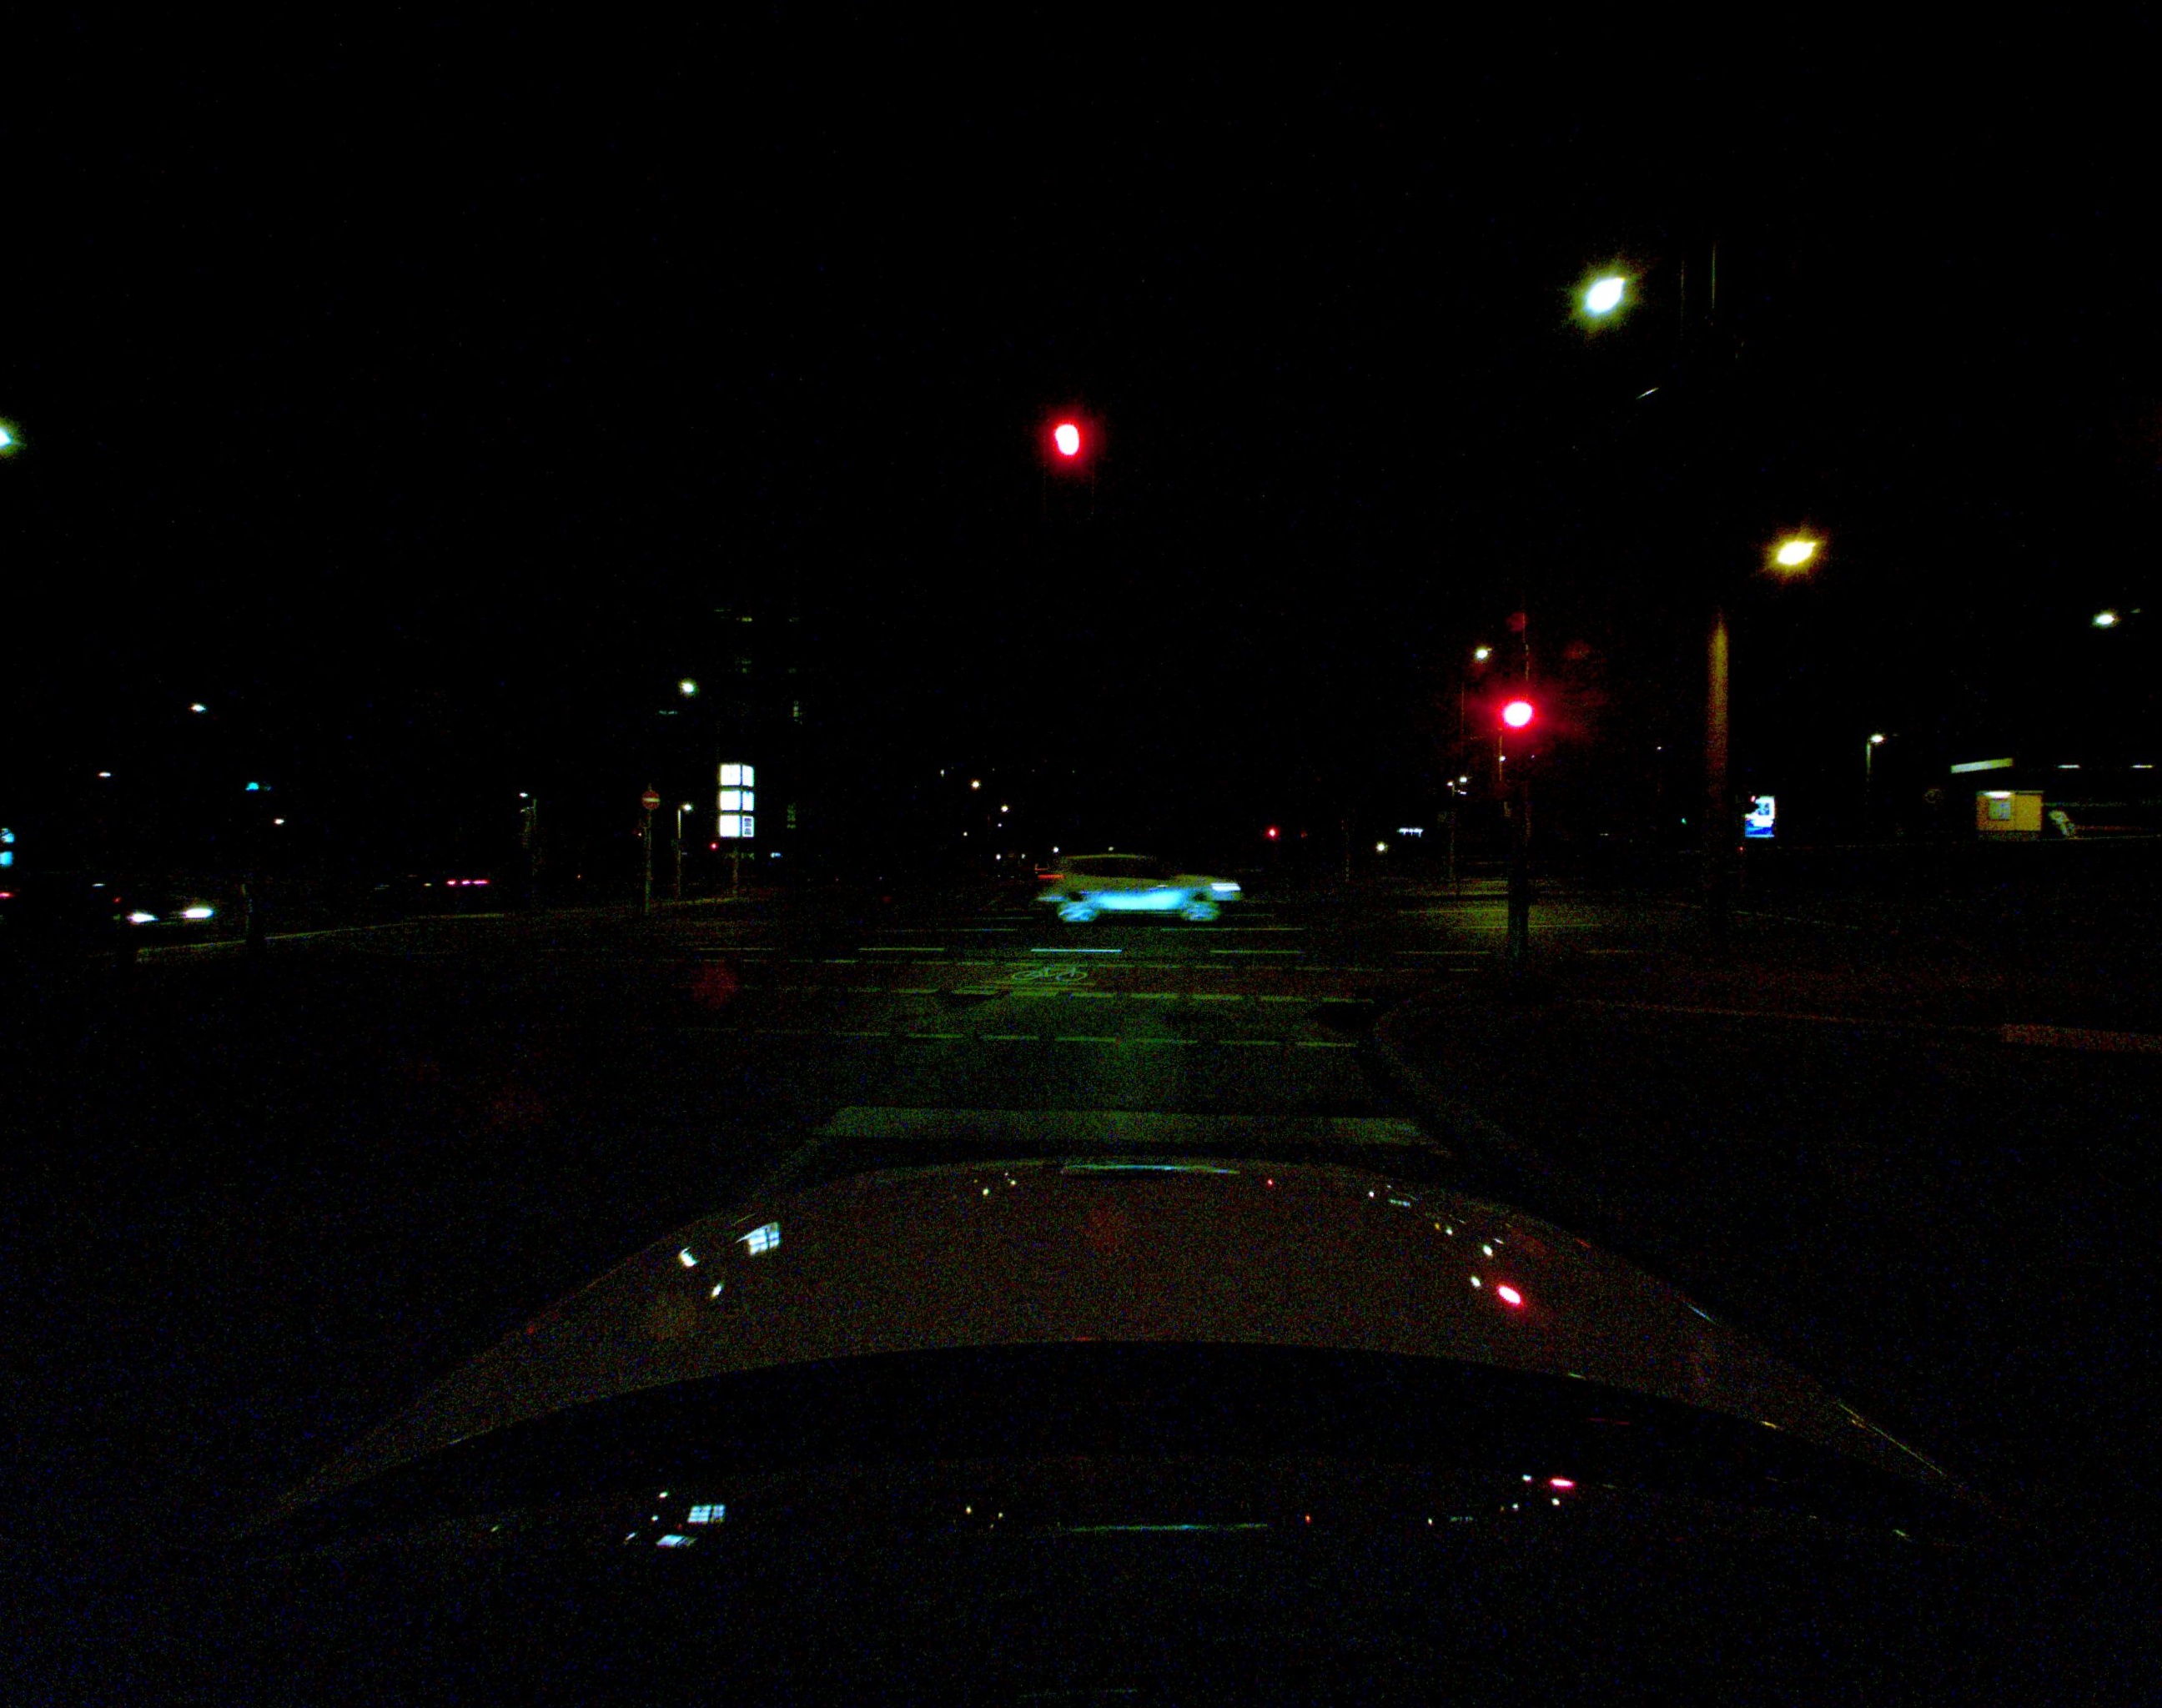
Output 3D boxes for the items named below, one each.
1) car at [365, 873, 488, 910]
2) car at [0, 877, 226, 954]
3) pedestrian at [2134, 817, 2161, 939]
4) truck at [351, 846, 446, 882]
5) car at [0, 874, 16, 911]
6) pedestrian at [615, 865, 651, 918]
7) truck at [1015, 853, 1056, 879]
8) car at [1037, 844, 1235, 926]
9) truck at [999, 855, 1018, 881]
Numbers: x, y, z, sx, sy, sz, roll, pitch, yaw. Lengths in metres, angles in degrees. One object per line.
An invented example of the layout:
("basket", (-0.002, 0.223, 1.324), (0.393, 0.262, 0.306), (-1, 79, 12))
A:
("car", (-32.307, 1.849, 40.282), (4.595, 1.728, 2.003), (0, -1, 5))
("car", (-25.220, 1.566, 21.084), (4.323, 1.651, 1.812), (-3, 1, 4))
("pedestrian", (15.796, 0.312, 11.439), (0.752, 1.745, 0.834), (-3, -3, 1))
("truck", (-59.731, 0.891, 71.349), (5.873, 3.088, 2.915), (0, -1, 3))
("car", (-59.362, 2.049, 42.883), (4.163, 1.975, 2.002), (0, -1, 4))
("pedestrian", (-14.043, 1.154, 25.545), (0.667, 1.634, 0.862), (0, -1, -3))
("truck", (-8.564, 2.241, 151.638), (4.835, 4.547, 12.591), (0, -1, -17))
("car", (1.275, 0.667, 18.676), (4.262, 1.683, 1.878), (-2, 1, 5))
("truck", (-10.608, 1.972, 119.507), (2.580, 3.707, 5.723), (0, -1, -7))
